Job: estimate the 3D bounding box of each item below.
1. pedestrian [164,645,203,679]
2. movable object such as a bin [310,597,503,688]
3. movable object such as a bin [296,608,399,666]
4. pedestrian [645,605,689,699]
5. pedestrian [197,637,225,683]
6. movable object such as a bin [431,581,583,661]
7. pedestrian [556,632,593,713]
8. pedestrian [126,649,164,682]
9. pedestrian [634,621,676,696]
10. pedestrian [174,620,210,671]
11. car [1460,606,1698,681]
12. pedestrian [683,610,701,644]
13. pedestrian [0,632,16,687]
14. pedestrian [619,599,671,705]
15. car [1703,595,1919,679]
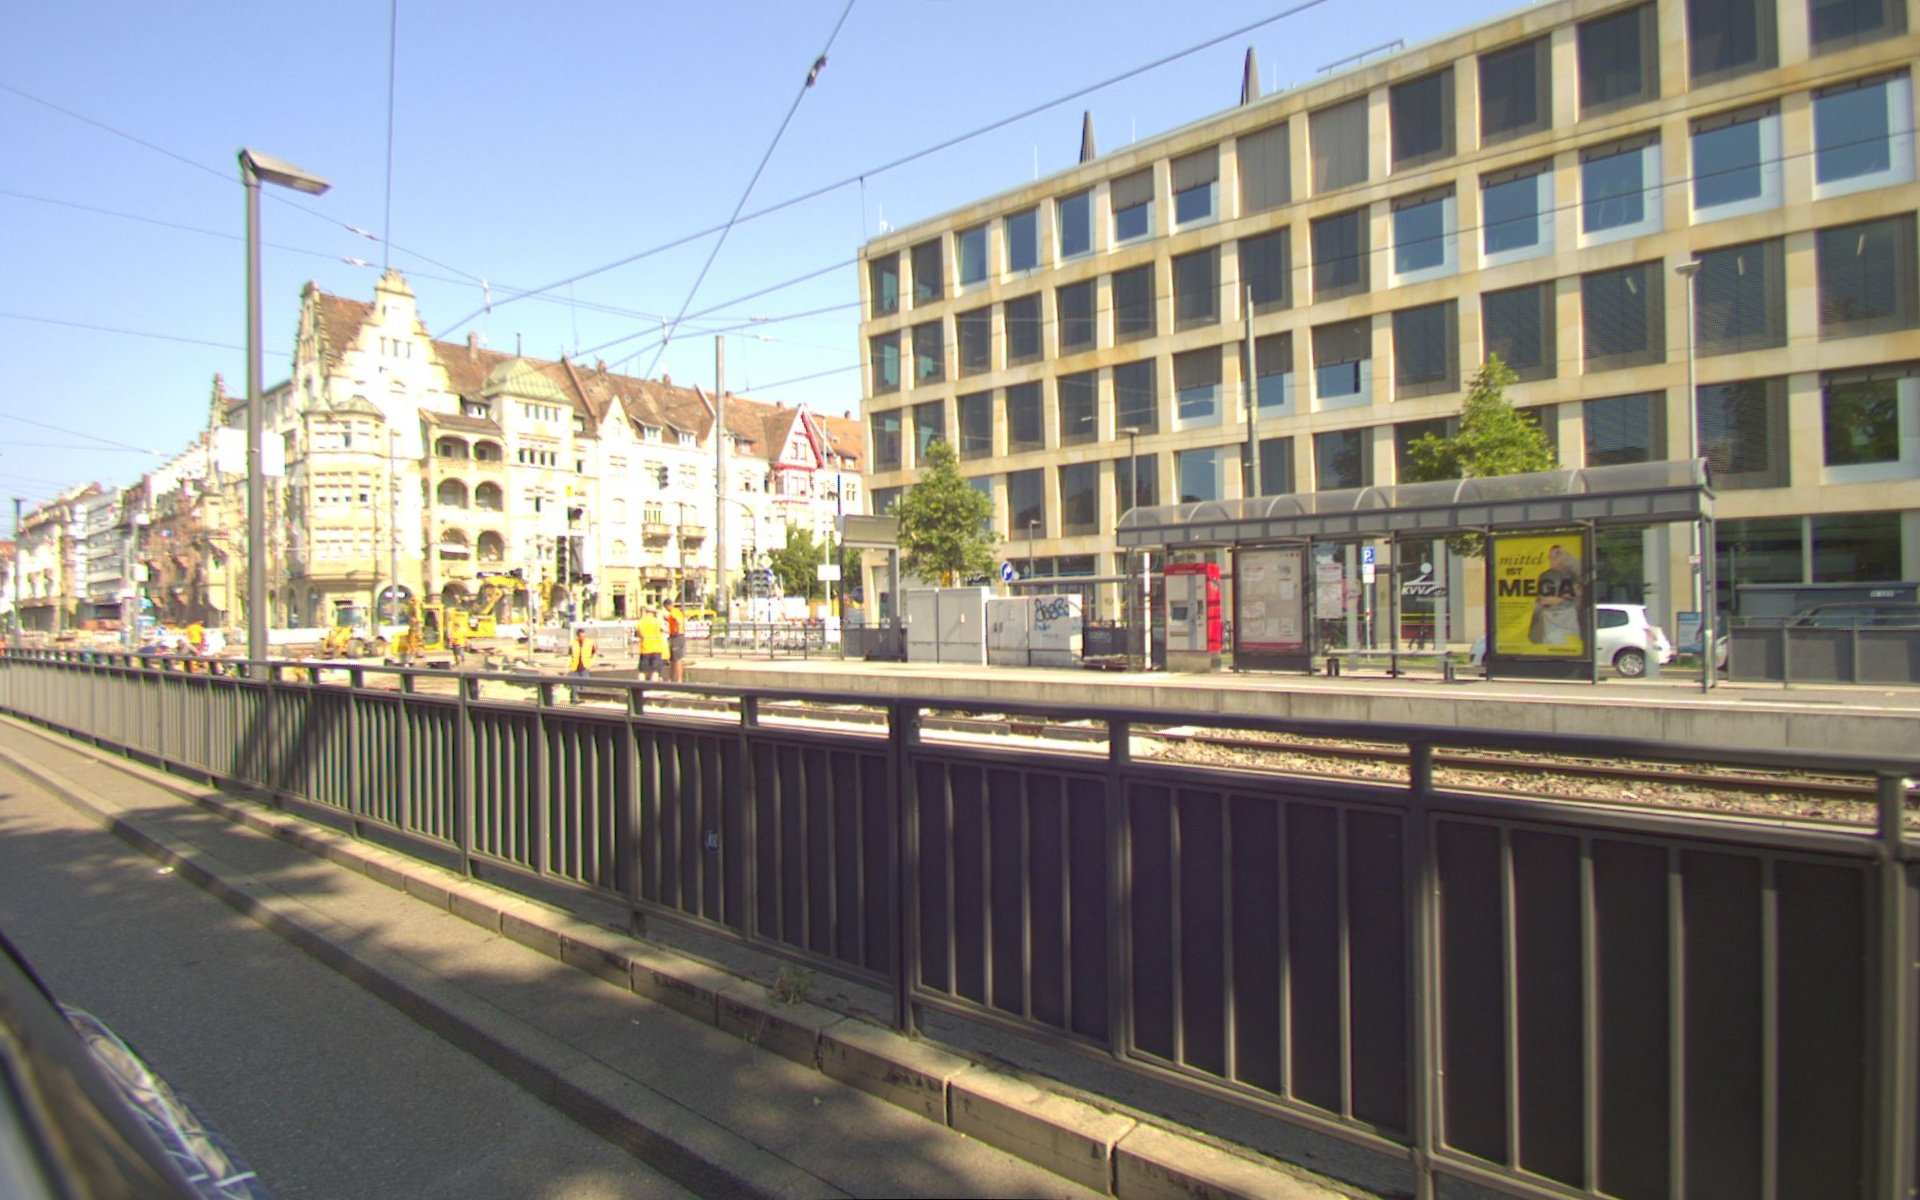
[{"bbox_3d":[-23.367,1.871,30.449,0.927,0.996,0.509,-2,-2,18],"label":"pedestrian"},{"bbox_3d":[-20.975,1.470,38.117,8.470,2.980,3.577,-1,1,40],"label":"movable object such as a bin"},{"bbox_3d":[-32.130,1.898,53.312,2.417,2.856,4.812,-1,-1,3],"label":"movable object such as a bin"},{"bbox_3d":[-5.868,1.036,20.288,0.633,1.829,0.625,-1,-2,8],"label":"pedestrian"},{"bbox_3d":[-26.260,2.101,35.461,0.557,1.578,0.693,-3,-2,42],"label":"pedestrian"},{"bbox_3d":[-26.548,1.174,59.354,7.261,4.380,4.980,0,0,-37],"label":"movable object such as a bin"},{"bbox_3d":[-8.239,1.540,21.645,0.657,1.676,0.774,-1,-2,-17],"label":"pedestrian"},{"bbox_3d":[-23.623,1.891,29.333,0.810,0.933,0.513,0,-2,-44],"label":"pedestrian"},{"bbox_3d":[-6.517,1.239,21.643,0.620,1.566,0.638,-2,-2,14],"label":"pedestrian"},{"bbox_3d":[-24.197,1.435,31.889,0.556,1.578,0.808,-3,-2,39],"label":"pedestrian"},{"bbox_3d":[12.787,0.880,21.018,3.996,1.414,1.883,-2,-2,39],"label":"car"},{"bbox_3d":[-16.659,1.702,62.915,0.663,2.080,0.895,-1,-1,16],"label":"pedestrian"},{"bbox_3d":[-28.102,1.726,29.496,0.690,1.578,0.752,-3,-2,39],"label":"pedestrian"},{"bbox_3d":[-6.044,0.979,19.402,0.713,1.965,0.790,0,-2,-35],"label":"pedestrian"},{"bbox_3d":[16.020,0.660,18.357,3.996,1.414,1.883,-2,-2,39],"label":"car"}]
